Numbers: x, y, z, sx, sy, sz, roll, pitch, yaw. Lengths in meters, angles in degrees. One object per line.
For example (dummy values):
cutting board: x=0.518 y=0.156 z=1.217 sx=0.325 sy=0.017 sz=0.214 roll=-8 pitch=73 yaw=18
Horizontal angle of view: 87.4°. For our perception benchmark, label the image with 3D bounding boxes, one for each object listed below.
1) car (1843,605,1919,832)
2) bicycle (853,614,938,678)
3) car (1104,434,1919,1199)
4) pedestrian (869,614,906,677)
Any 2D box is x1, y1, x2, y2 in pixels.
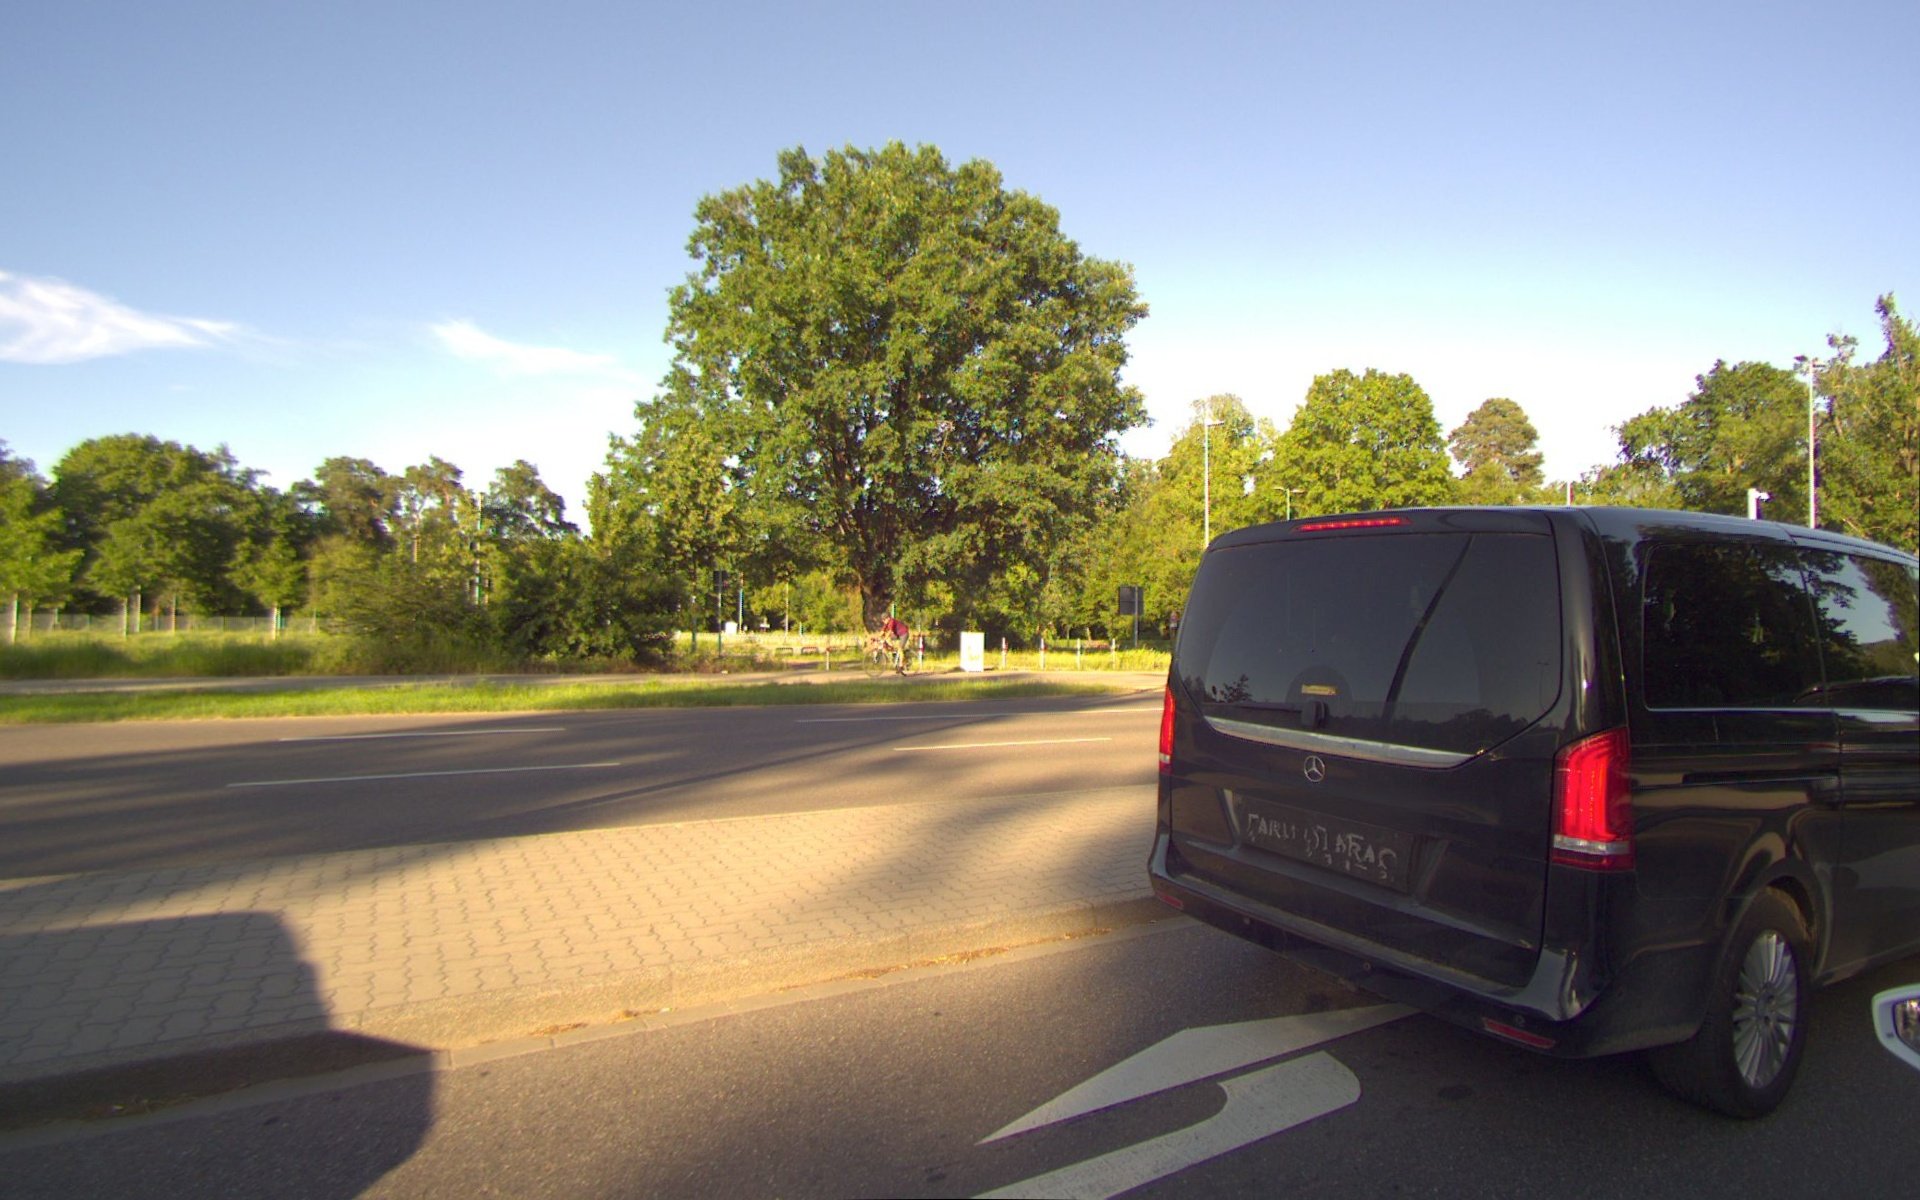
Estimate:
car: x=8.902 y=0.935 z=7.843 sx=4.383 sy=1.601 sz=1.710 roll=3 pitch=0 yaw=-31
bicycle: x=-1.643 y=1.185 z=25.756 sx=1.996 sy=1.571 sz=0.748 roll=2 pitch=0 yaw=-27
car: x=3.139 y=0.550 z=4.479 sx=4.816 sy=1.881 sz=1.898 roll=1 pitch=1 yaw=-30
pedestrian: x=-1.844 y=1.154 z=25.637 sx=0.664 sy=1.564 sz=0.737 roll=2 pitch=0 yaw=-27
